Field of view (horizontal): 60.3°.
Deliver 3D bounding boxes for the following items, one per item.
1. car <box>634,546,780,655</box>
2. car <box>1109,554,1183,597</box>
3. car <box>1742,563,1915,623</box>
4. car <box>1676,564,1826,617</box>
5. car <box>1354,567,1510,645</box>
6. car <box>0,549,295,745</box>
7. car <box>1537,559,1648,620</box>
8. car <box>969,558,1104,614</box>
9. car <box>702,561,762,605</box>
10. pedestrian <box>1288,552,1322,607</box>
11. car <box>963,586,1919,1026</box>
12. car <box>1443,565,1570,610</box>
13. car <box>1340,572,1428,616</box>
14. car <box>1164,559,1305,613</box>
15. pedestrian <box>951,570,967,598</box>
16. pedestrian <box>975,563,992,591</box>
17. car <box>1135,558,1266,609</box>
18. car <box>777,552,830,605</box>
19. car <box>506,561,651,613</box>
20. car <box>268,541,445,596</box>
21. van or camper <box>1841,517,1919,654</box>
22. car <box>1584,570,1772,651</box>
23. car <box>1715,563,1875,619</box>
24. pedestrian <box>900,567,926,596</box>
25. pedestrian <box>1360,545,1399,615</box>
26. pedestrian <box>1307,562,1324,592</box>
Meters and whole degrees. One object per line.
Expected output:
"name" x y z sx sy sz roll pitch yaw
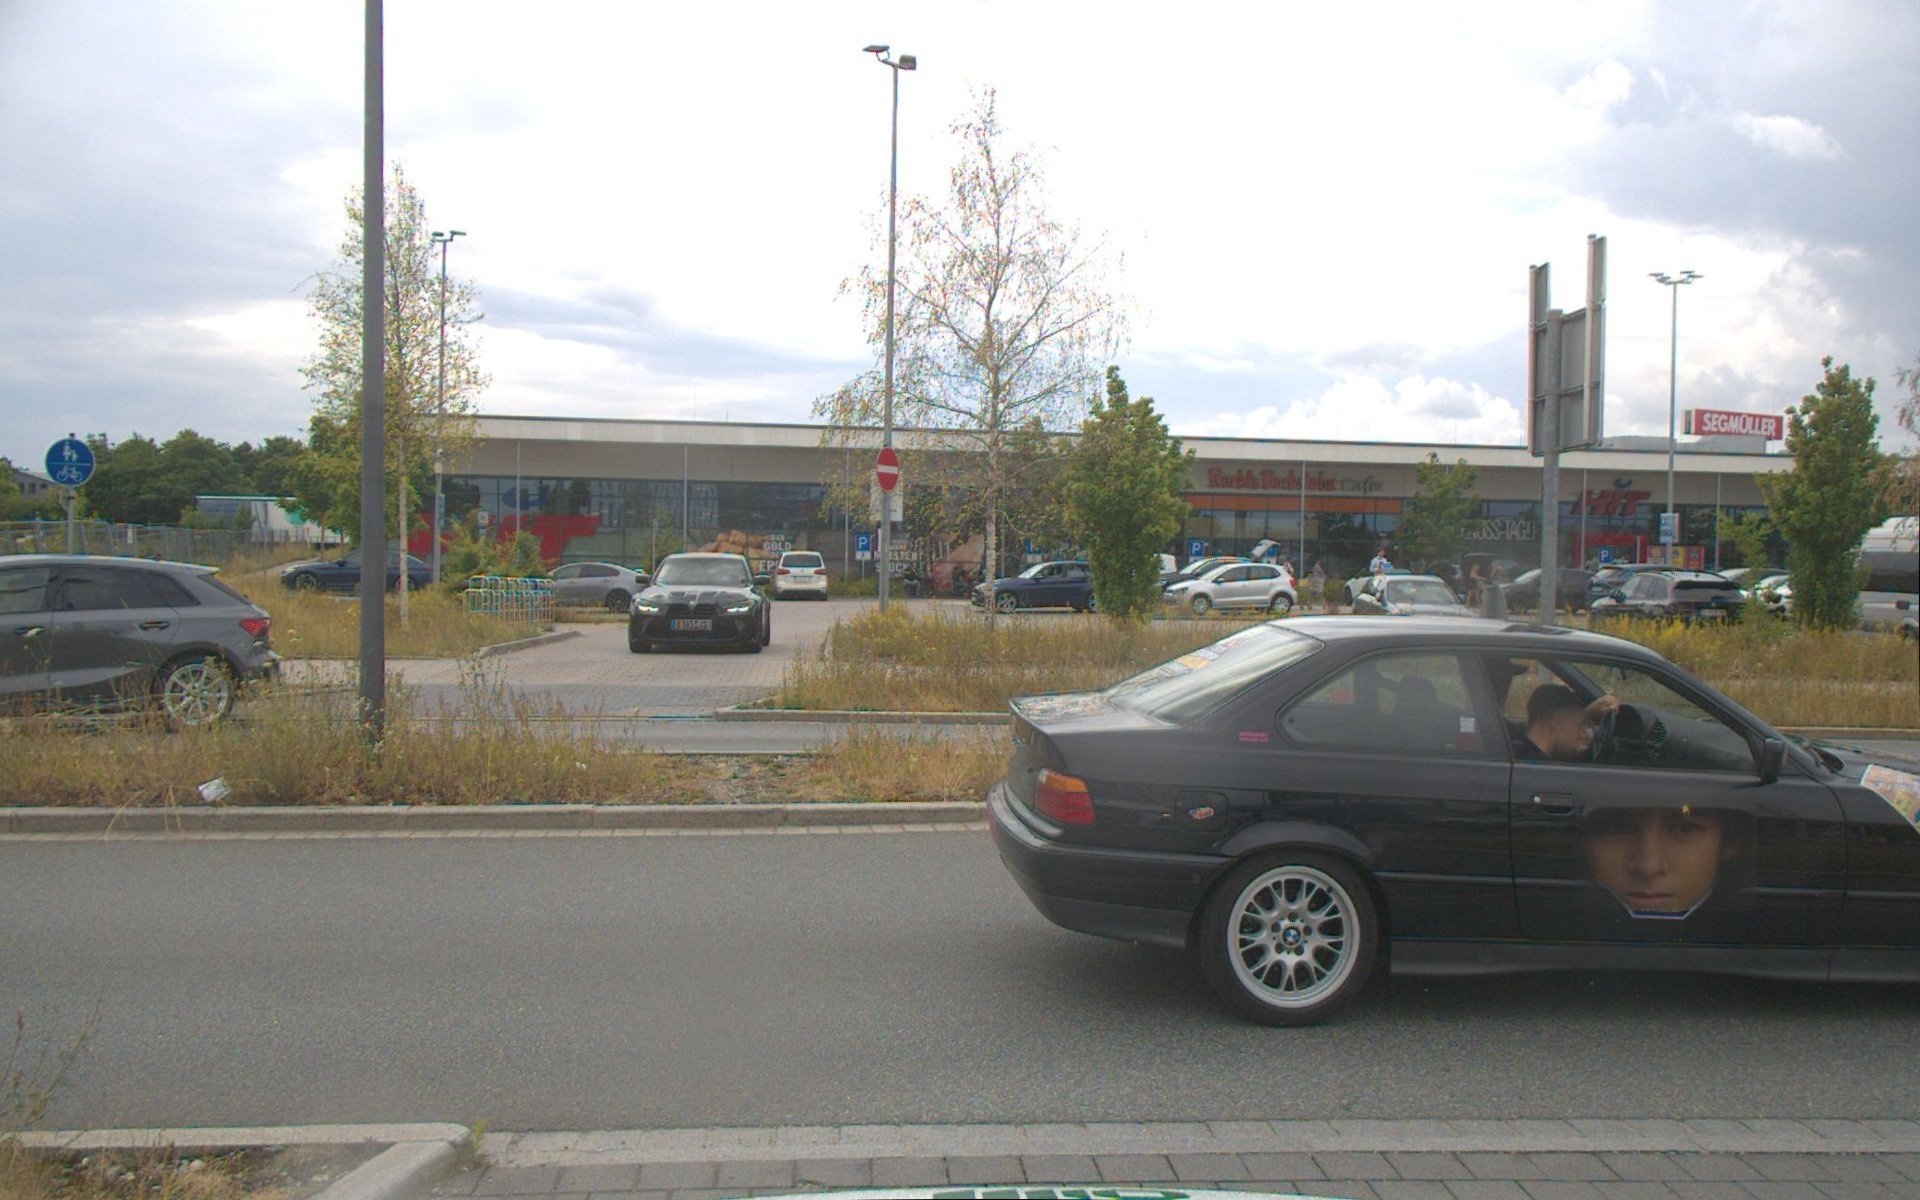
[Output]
"car" -3.694 -0.041 24.860 1.744 1.471 4.607 1 1 -4
"car" 6.842 -0.938 61.243 1.955 1.534 3.996 1 2 -5
"car" 25.029 -0.225 47.770 3.904 1.646 2.001 1 1 1
"car" 25.544 -0.324 53.520 3.904 1.646 2.001 1 1 1
"car" 9.324 0.077 33.038 1.948 1.408 4.150 1 1 1
"car" -7.886 0.341 13.482 4.277 1.492 1.773 0 2 -39
"car" 18.462 -0.343 48.458 1.777 1.682 4.001 1 2 1
"car" 2.144 -0.404 46.878 3.539 1.479 1.665 1 2 -9
"car" -8.051 -0.616 58.689 1.869 1.469 3.997 1 2 -5
"pedestrian" 10.648 -0.634 51.006 0.805 1.660 0.899 1 1 -2
"car" 2.180 0.697 6.489 4.203 1.410 1.758 1 2 -5
"car" 20.023 -0.458 60.688 3.910 1.534 1.998 1 2 -6
"car" 15.923 -0.254 62.309 1.955 1.534 3.997 1 2 -5
"car" 7.928 -0.420 47.912 3.676 1.479 1.665 1 2 -8
"pedestrian" -0.060 -0.671 68.615 0.565 1.143 0.560 0 1 -11
"pedestrian" 0.956 -0.961 67.914 0.565 1.143 0.560 0 1 -11
"car" 7.370 -0.524 50.808 3.676 1.479 1.665 1 2 -8
"car" -5.562 -0.805 59.078 1.788 1.729 4.231 1 3 -5
"car" -10.852 -0.369 47.298 3.914 1.375 1.996 1 1 -10
"car" -18.879 -0.972 51.948 4.919 1.585 1.995 1 1 -12
"van or camper" 19.051 -0.263 31.900 2.234 2.535 4.003 1 1 6
"car" 14.203 0.159 32.995 1.948 1.476 4.150 1 1 1
"car" 25.588 -0.294 50.780 3.904 1.646 2.001 1 1 1
"pedestrian" -1.963 -0.783 68.996 0.953 1.174 1.131 1 2 -9
"pedestrian" 12.583 -0.614 49.587 0.847 2.048 1.003 1 1 -2
"pedestrian" 14.918 -0.977 69.384 0.549 1.222 0.527 1 1 -7
